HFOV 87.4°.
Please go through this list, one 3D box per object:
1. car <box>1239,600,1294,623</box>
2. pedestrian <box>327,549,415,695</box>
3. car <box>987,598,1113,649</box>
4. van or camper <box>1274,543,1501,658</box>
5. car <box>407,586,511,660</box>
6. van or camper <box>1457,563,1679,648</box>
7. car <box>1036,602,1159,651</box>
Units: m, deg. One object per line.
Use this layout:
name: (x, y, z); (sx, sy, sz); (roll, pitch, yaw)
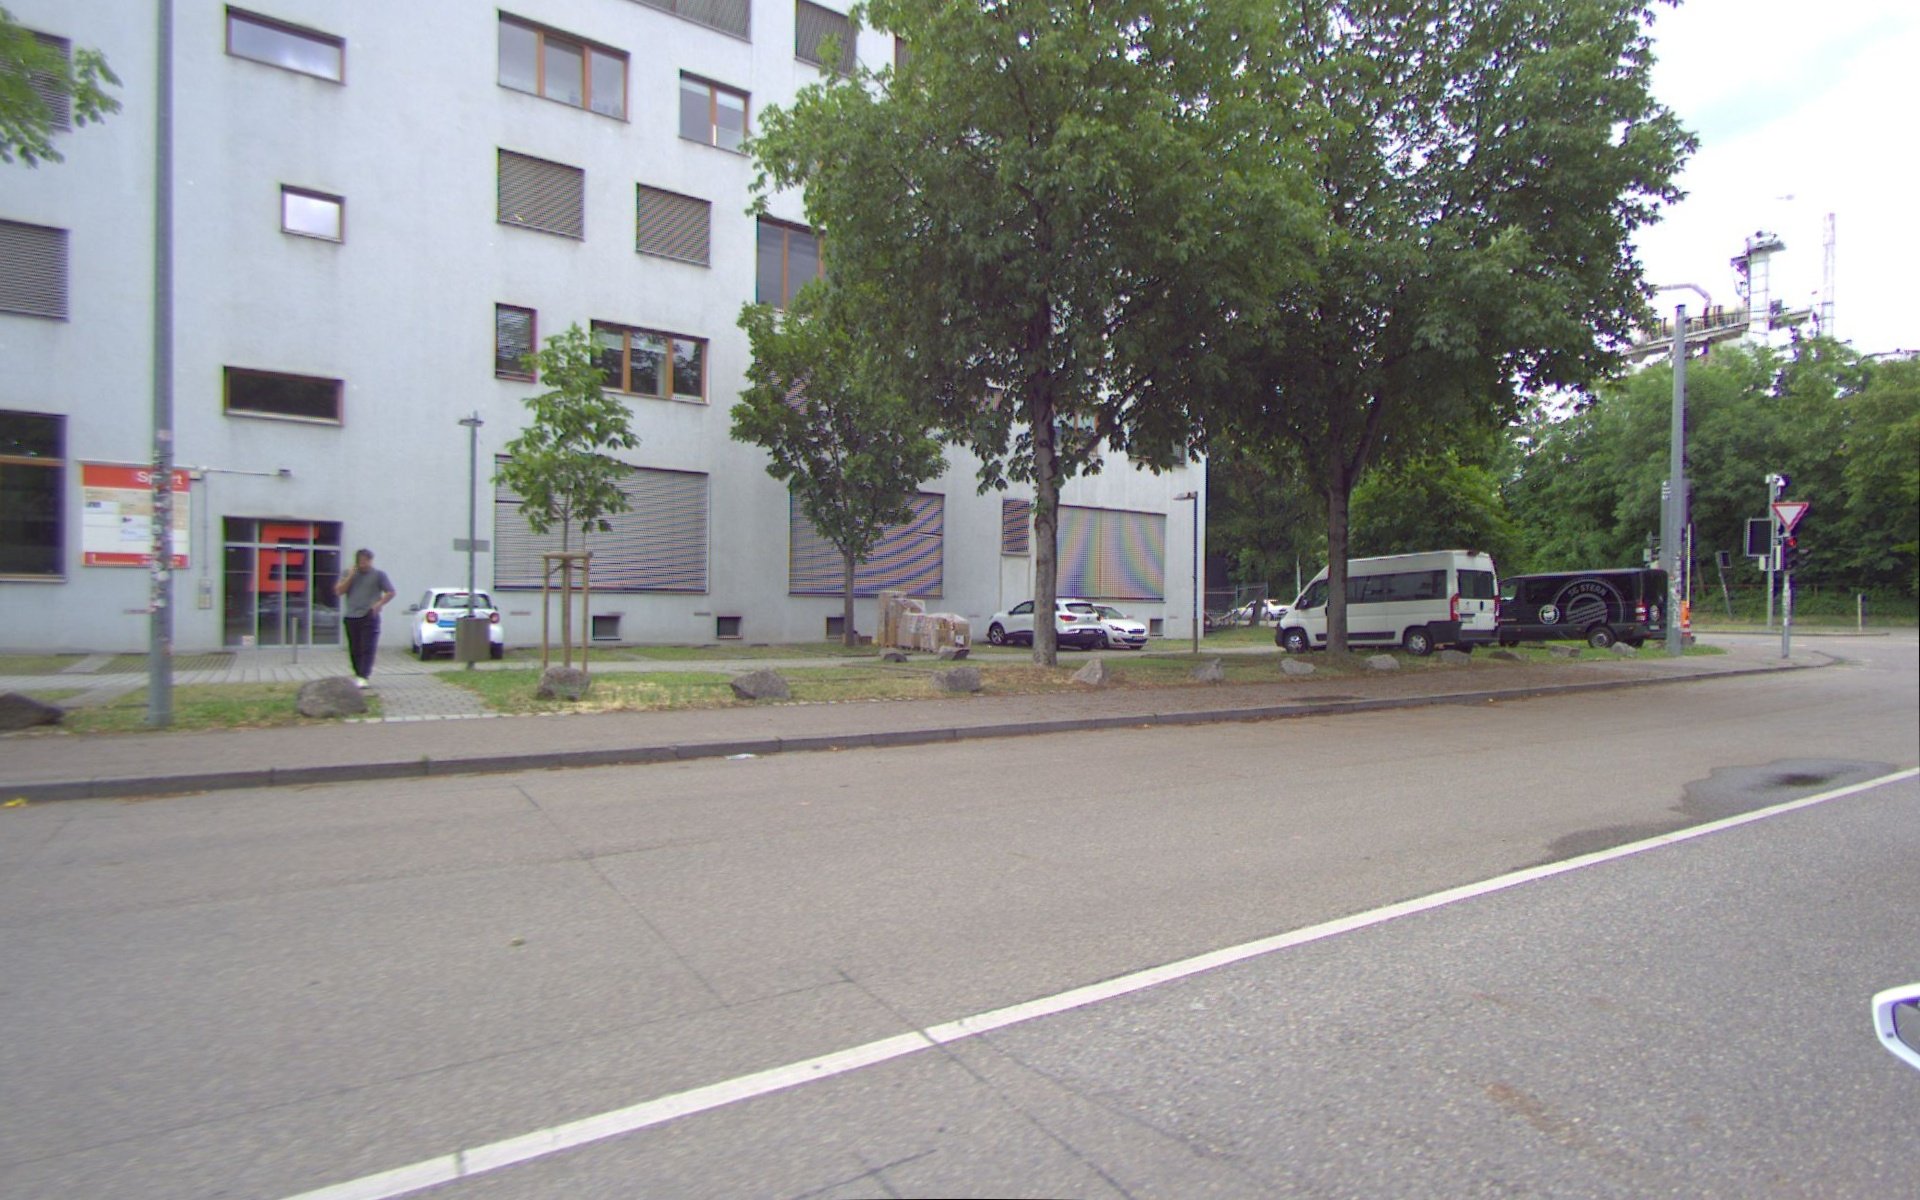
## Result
car: (20.557, 0.774, 67.477); (1.484, 1.440, 3.281); (2, 0, -33)
pedestrian: (-7.201, 0.263, 12.265); (0.780, 1.694, 0.836); (2, 0, -38)
car: (2.862, 0.724, 32.569); (1.883, 1.475, 3.968); (2, 0, -37)
van or camper: (10.663, 0.012, 25.433); (2.041, 2.604, 4.938); (2, 0, -35)
car: (-11.416, 0.486, 22.770); (1.675, 1.520, 3.590); (2, 0, -33)
van or camper: (18.359, 0.271, 30.669); (2.038, 2.343, 5.508); (2, -3, -31)
car: (4.614, 0.876, 34.095); (1.883, 1.475, 3.968); (2, 0, -37)
